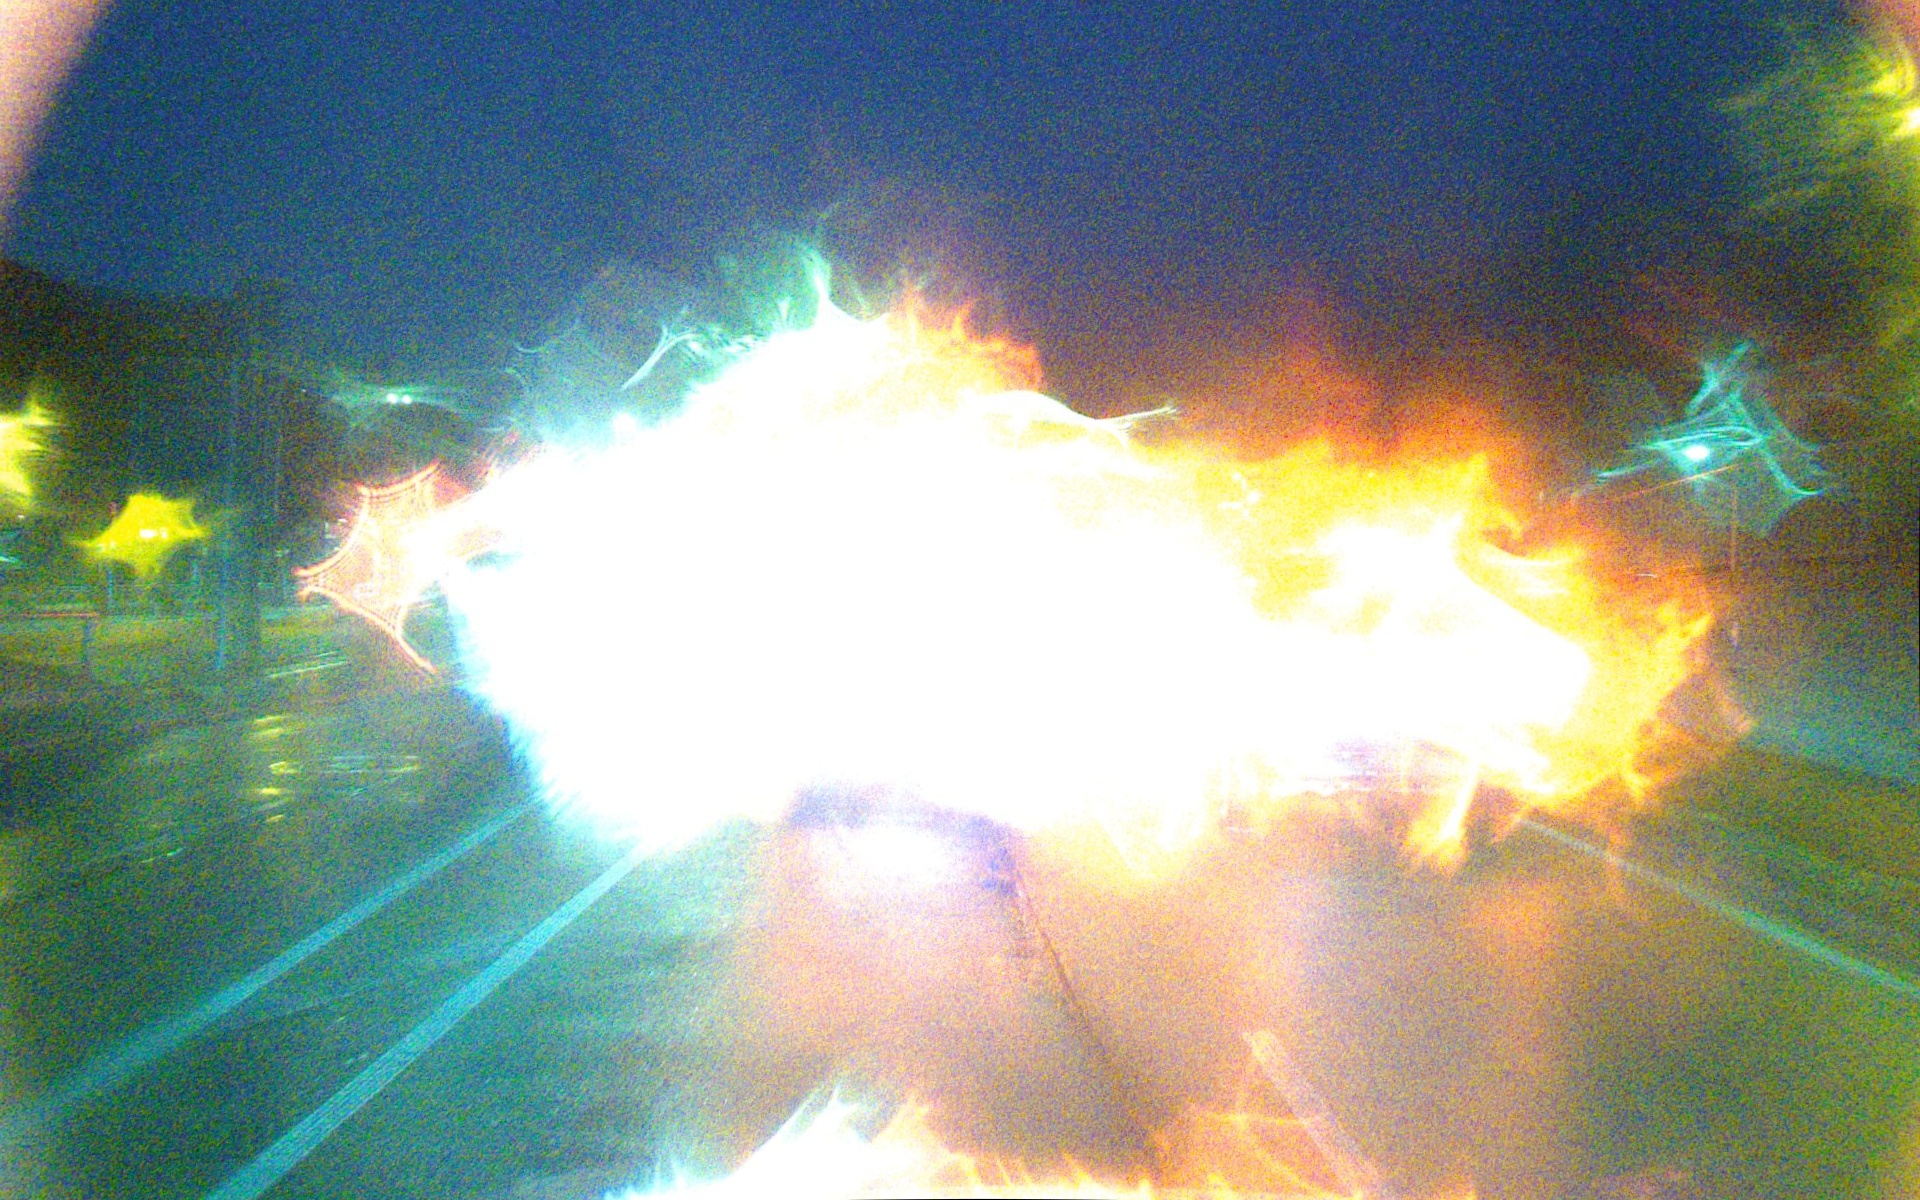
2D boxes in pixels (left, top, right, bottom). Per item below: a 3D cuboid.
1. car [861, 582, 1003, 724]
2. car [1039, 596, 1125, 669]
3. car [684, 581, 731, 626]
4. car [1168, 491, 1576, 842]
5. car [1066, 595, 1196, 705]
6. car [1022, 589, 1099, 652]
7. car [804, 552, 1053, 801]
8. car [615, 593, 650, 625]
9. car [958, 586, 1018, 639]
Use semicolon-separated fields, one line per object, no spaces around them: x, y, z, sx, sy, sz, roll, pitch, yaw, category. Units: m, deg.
-0.339;0.611;21.680;1.674;1.666;3.730;-1;1;0;car
2.547;0.658;35.267;1.629;1.475;4.050;0;0;1;car
-11.274;0.143;74.047;1.956;1.945;4.735;0;0;-7;car
2.643;0.357;11.675;1.902;2.006;4.219;1;1;1;car
2.530;0.699;25.314;1.731;1.475;4.220;1;1;3;car
2.497;0.473;41.756;1.629;1.475;4.049;1;1;-1;car
-0.230;0.523;13.129;1.660;1.658;3.852;1;0;-1;car
-20.605;0.571;103.891;1.960;1.925;4.726;0;0;-14;car
0.787;0.362;48.866;1.629;1.475;4.049;1;0;-1;car
